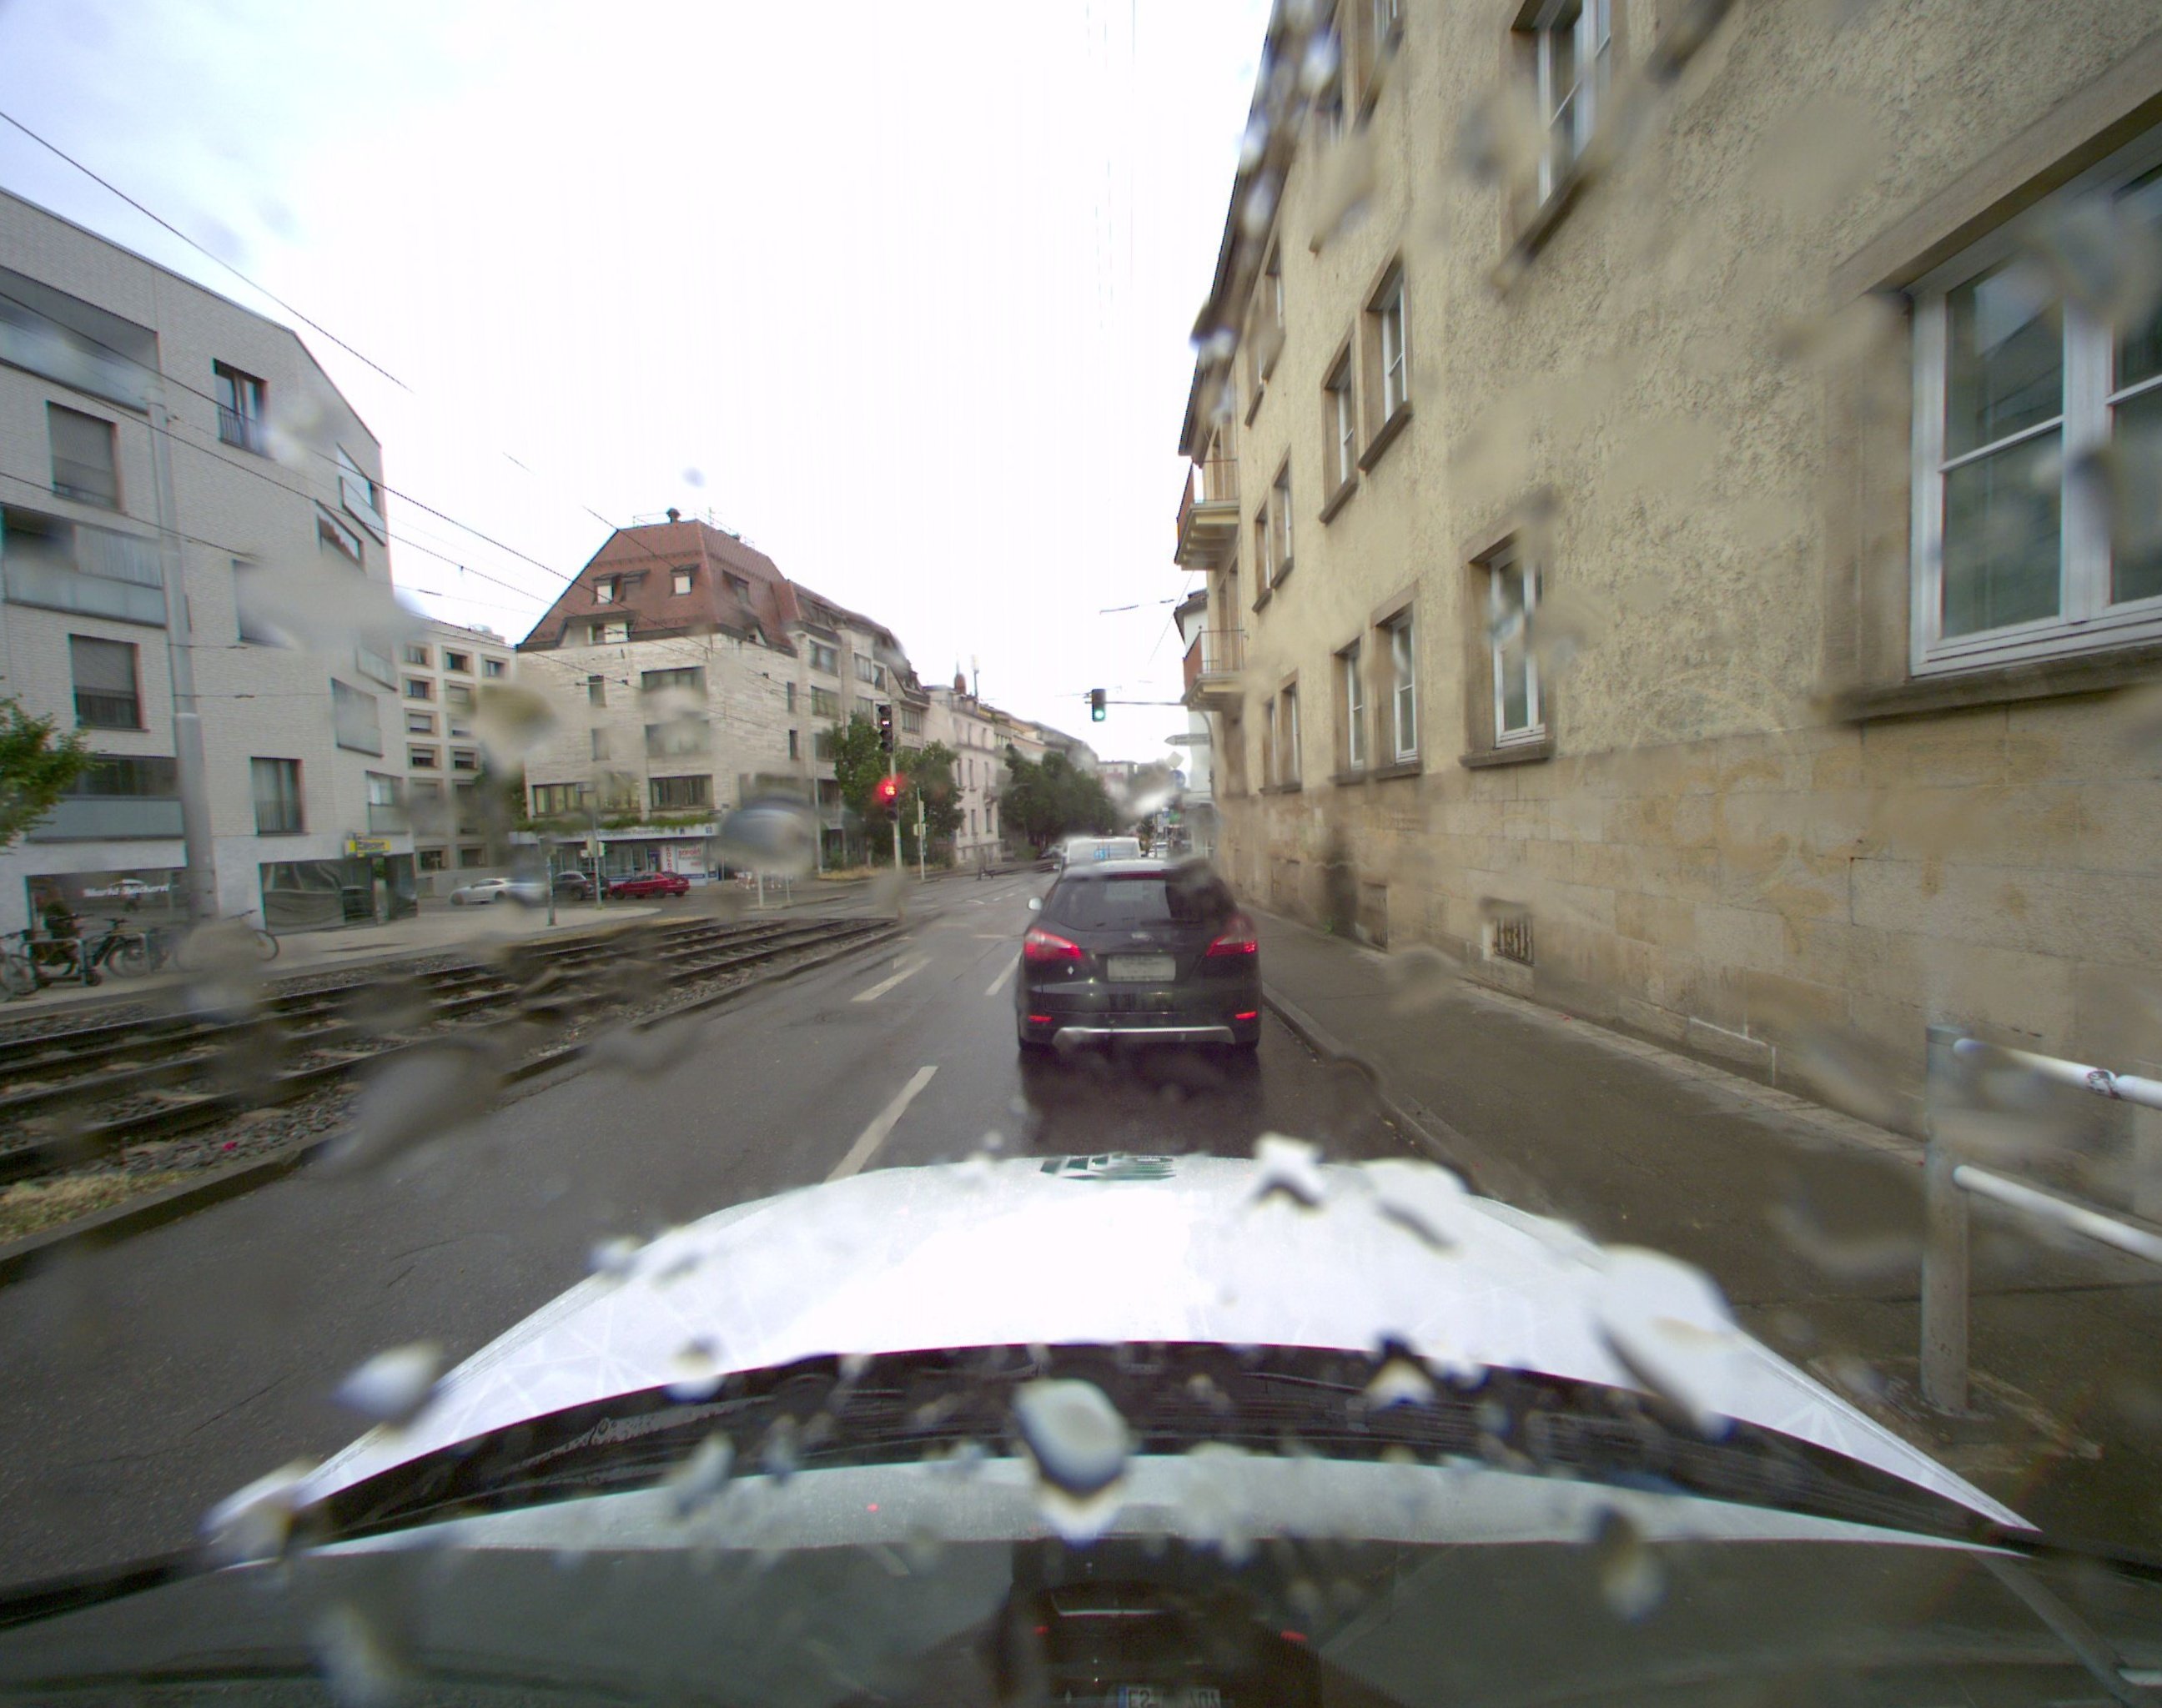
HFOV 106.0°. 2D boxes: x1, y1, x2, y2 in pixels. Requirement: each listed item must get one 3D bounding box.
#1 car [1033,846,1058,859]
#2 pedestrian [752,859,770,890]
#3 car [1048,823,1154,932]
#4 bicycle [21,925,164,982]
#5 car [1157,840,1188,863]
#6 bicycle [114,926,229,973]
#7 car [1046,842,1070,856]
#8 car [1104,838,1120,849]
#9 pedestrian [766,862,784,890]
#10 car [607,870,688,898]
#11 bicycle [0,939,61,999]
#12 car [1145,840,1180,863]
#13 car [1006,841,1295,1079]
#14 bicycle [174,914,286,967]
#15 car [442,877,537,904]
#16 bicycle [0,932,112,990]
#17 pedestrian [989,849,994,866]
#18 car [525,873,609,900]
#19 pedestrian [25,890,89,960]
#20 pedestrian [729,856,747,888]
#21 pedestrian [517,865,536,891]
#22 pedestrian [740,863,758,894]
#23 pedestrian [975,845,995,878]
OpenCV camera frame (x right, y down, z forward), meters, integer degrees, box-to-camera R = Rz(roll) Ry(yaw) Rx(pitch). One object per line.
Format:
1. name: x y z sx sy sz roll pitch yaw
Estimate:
1. car: -4.043 -0.123 94.002 1.682 1.377 4.736 -2 -1 12
2. pedestrian: -17.871 1.128 45.522 0.643 1.724 0.686 0 -1 10
3. car: 0.420 0.466 17.854 1.981 2.060 4.645 -1 0 1
4. bicycle: -18.496 1.851 15.273 1.787 0.917 0.385 -1 0 -16
5. car: 7.115 -0.227 62.729 1.833 1.632 4.602 -2 0 12
6. bicycle: -17.845 1.868 15.987 1.778 0.876 0.387 0 -1 -1
7. car: -2.775 -0.593 100.043 1.843 1.548 4.736 -2 0 12
8. car: 5.370 -1.795 139.674 1.843 1.637 4.952 -2 0 12
9. pedestrian: -17.147 1.242 45.615 0.643 1.549 0.686 0 -1 10
10. car: -23.014 1.591 43.243 3.666 1.318 1.600 -2 -1 15
11. bicycle: -17.767 1.881 13.225 1.779 0.918 0.387 -2 0 -3
12. car: 5.669 -0.167 55.889 1.789 1.455 4.602 -3 0 12
13. car: 0.499 0.691 7.223 1.836 1.507 4.001 -1 0 2
14. bicycle: -17.966 1.820 17.214 1.779 0.980 0.440 -2 0 -3
15. car: -32.640 2.002 44.962 4.458 1.318 1.598 -2 -1 11
16. bicycle: -18.011 1.847 14.096 1.782 0.918 0.386 0 -1 -8
17. pedestrian: -8.688 0.320 79.192 0.466 1.652 0.582 0 -1 0
18. car: -27.832 1.758 44.133 3.670 1.318 1.599 -2 -1 11
19. pedestrian: -24.469 1.685 19.476 0.650 1.569 0.770 -2 0 -26
20. pedestrian: -19.705 1.017 46.779 0.643 1.842 0.686 0 -1 10
21. pedestrian: -33.401 1.420 49.043 0.677 1.549 0.651 0 -1 10
22. pedestrian: -18.614 1.375 45.710 0.643 1.749 0.686 0 -1 10
23. pedestrian: -5.344 0.409 45.250 0.926 1.830 0.960 0 -1 4
